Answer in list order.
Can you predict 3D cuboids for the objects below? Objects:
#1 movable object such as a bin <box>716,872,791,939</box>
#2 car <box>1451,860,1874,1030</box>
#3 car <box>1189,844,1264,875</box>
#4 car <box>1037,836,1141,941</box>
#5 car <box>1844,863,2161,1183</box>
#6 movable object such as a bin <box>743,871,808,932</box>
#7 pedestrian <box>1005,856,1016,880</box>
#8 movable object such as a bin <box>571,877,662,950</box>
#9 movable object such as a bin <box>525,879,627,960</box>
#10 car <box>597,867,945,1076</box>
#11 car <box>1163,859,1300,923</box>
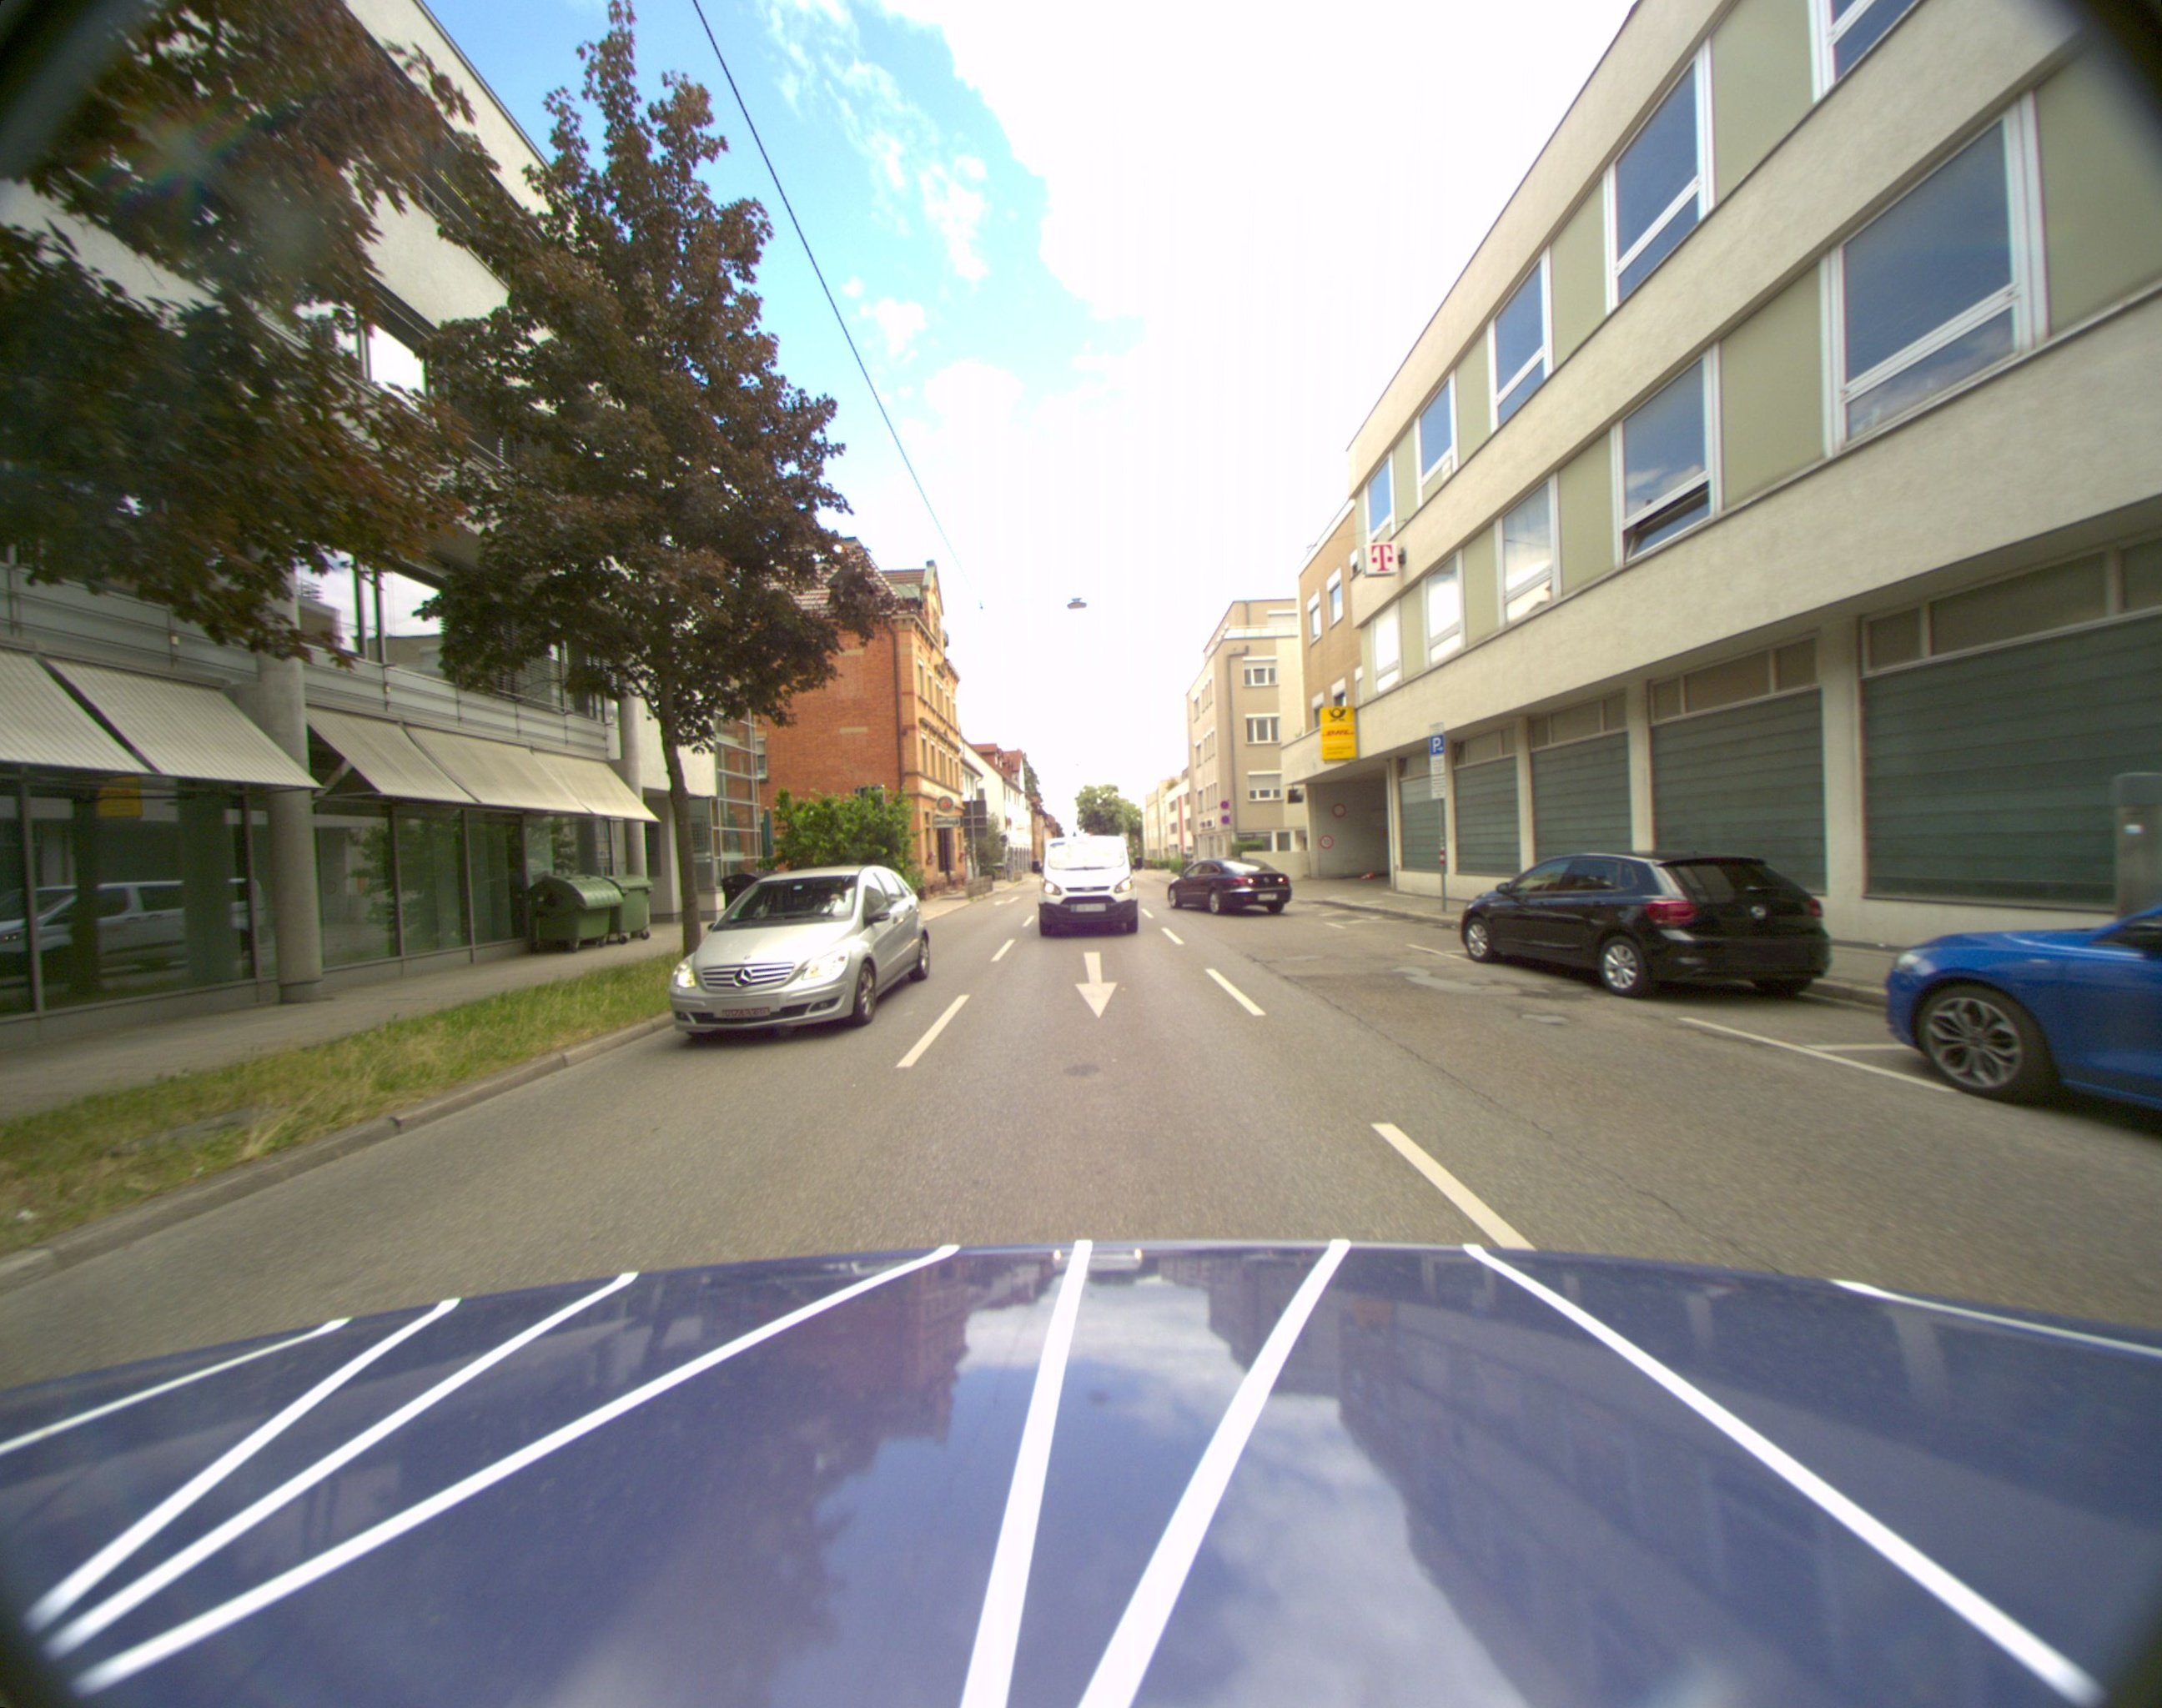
[{"bbox_3d":[-7.696,1.191,17.949,1.130,1.457,1.412,-1,1,-1],"label":"movable object such as a bin"},{"bbox_3d":[6.005,0.803,8.537,1.721,1.417,3.870,-1,0,-1],"label":"car"},{"bbox_3d":[10.572,0.393,55.385,5.082,1.986,1.966,-2,0,2],"label":"car"},{"bbox_3d":[0.091,0.669,17.381,1.965,1.986,5.086,-2,0,-2],"label":"car"},{"bbox_3d":[5.813,0.784,2.828,1.819,1.417,4.265,-1,0,3],"label":"car"},{"bbox_3d":[-7.744,1.185,19.320,1.101,1.457,1.332,-1,1,-1],"label":"movable object such as a bin"},{"bbox_3d":[-5.133,0.999,55.320,0.690,1.721,0.649,-2,1,-1],"label":"pedestrian"},{"bbox_3d":[-9.966,1.249,16.375,1.125,1.457,1.332,-1,1,-1],"label":"movable object such as a bin"},{"bbox_3d":[-9.933,1.261,15.014,1.101,1.457,1.332,-1,1,-1],"label":"movable object such as a bin"},{"bbox_3d":[-3.074,1.056,8.821,1.998,1.537,4.570,-5,0,1],"label":"car"},{"bbox_3d":[3.768,0.868,19.894,1.658,1.390,4.448,-3,1,-15],"label":"car"}]
